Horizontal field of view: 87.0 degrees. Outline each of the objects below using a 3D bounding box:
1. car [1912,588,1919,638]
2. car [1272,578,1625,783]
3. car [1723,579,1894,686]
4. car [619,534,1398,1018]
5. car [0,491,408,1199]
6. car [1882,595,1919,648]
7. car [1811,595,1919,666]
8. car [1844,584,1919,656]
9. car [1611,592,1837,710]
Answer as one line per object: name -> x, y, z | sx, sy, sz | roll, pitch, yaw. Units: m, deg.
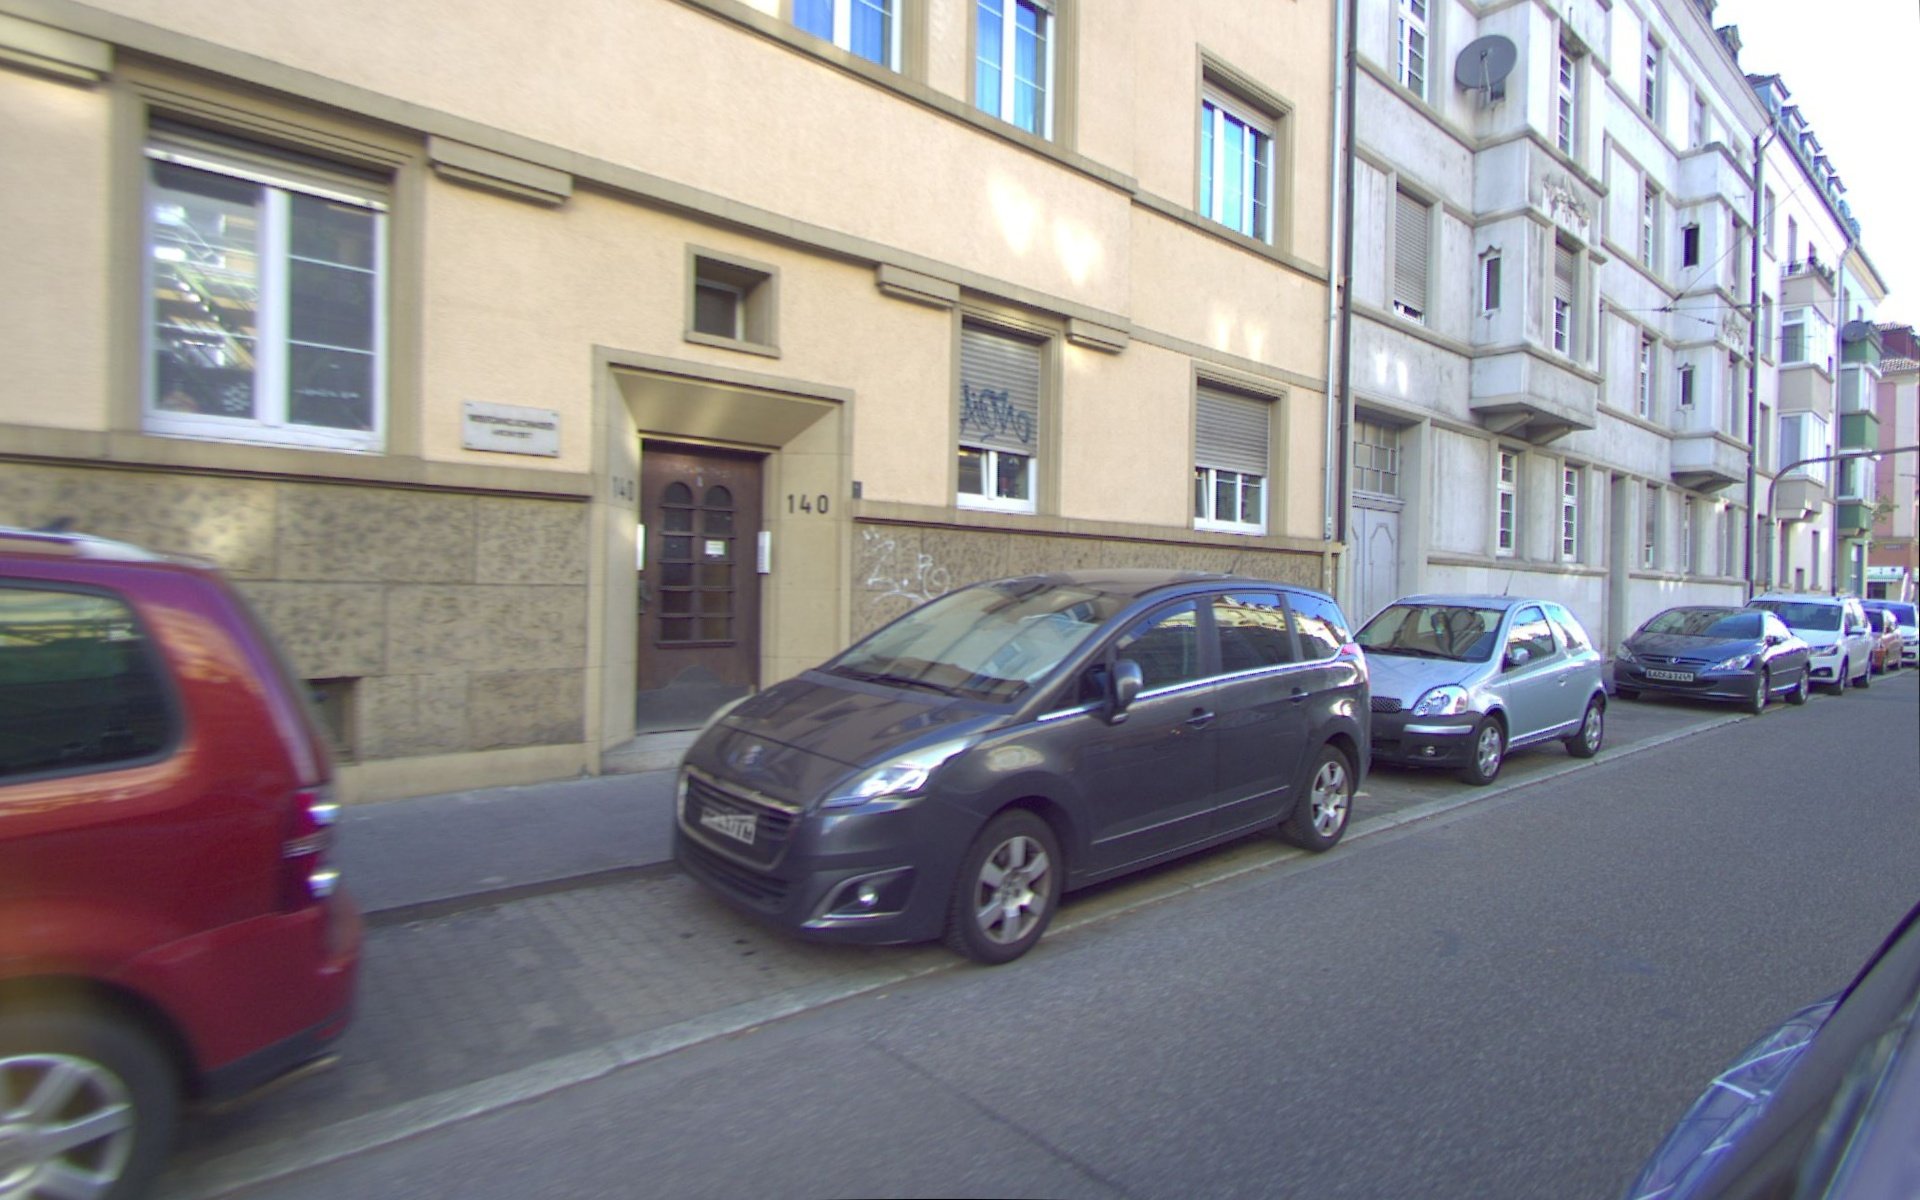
car -> 33.083, 0.438, 33.626 | 3.891, 1.610, 1.702 | 0, 1, -41
car -> 4.536, 0.582, 9.222 | 3.418, 1.481, 1.612 | 0, 2, -40
car -> 15.788, 0.525, 18.746 | 4.510, 1.714, 1.712 | 0, 2, -41
car -> 0.565, 0.570, 5.608 | 4.292, 1.672, 1.792 | 0, 2, -42
car -> -3.480, 0.563, 1.745 | 4.176, 1.629, 1.594 | 0, 2, -44
car -> 29.199, 0.621, 30.428 | 3.794, 1.524, 1.702 | 0, 1, -40
car -> 21.688, 0.673, 24.094 | 3.304, 1.502, 1.571 | 0, 3, -39
car -> 25.009, 0.492, 26.761 | 4.111, 1.719, 1.703 | 0, 2, -38
car -> 11.385, 0.652, 14.991 | 4.130, 1.470, 1.704 | 0, 2, -39
